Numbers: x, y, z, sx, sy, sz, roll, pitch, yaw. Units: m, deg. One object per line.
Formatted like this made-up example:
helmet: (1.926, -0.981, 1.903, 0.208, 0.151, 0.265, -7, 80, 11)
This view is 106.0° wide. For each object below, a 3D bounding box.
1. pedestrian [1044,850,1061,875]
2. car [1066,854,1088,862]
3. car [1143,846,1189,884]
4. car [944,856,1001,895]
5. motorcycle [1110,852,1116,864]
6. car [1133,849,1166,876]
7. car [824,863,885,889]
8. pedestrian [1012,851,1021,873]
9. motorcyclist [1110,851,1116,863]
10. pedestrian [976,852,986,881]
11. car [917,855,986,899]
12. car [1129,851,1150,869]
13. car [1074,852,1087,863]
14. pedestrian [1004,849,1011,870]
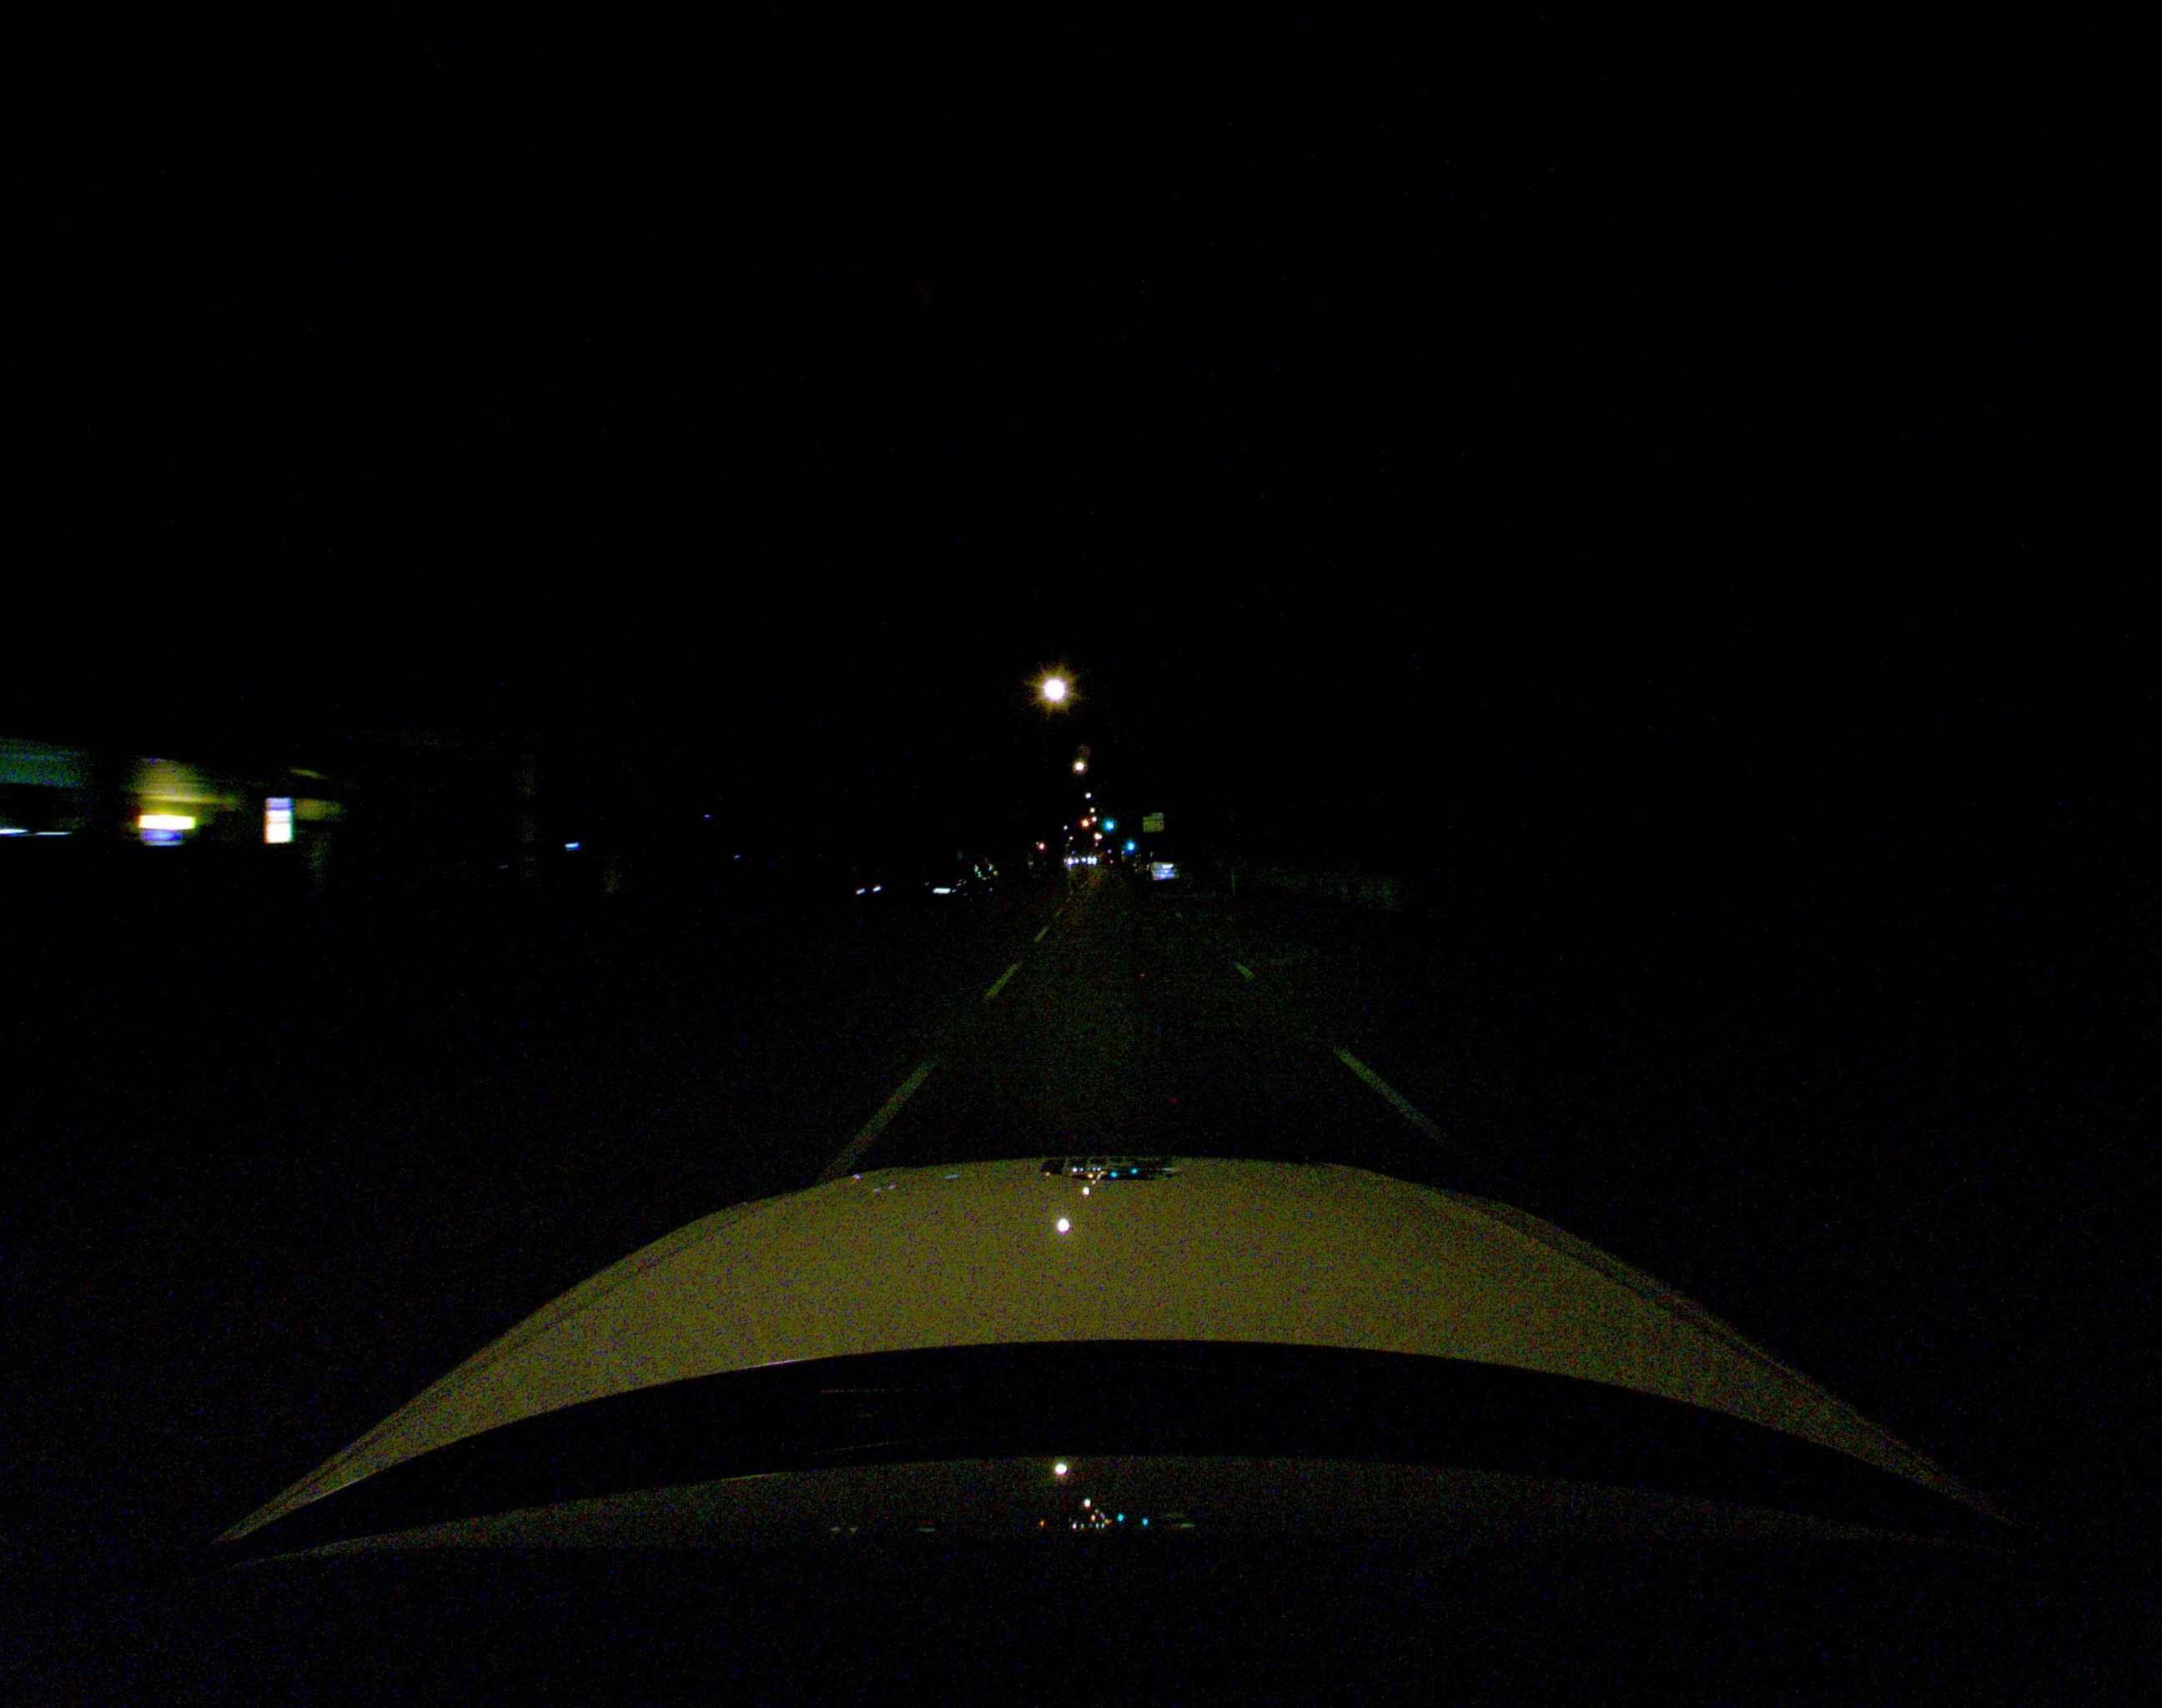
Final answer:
pedestrian: (-2.012, 0.606, 58.286, 0.757, 1.699, 0.932, 1, 0, 38)
car: (-0.681, 0.688, 147.730, 1.699, 1.457, 3.945, -2, -2, 45)
car: (4.003, 0.488, 38.926, 1.805, 1.594, 4.275, -3, 0, 2)
car: (-4.459, 0.839, 34.194, 1.715, 1.437, 4.810, -1, 1, 0)
motorcycle: (4.717, 0.619, 121.203, 0.927, 1.752, 2.626, -1, -1, 2)
car: (4.358, 0.515, 52.186, 1.862, 1.526, 4.151, -3, 0, 2)
car: (-13.335, 1.293, 47.949, 3.224, 1.453, 1.806, -1, -1, 34)
pedestrian: (-5.302, 0.669, 67.035, 0.717, 1.765, 0.602, 0, -1, -7)
motorcyclist: (4.712, 0.402, 121.210, 0.845, 1.752, 0.806, -1, -1, 1)
pedestrian: (-6.029, 0.759, 49.047, 0.580, 1.700, 0.530, 0, -1, -7)
car: (-4.494, 0.752, 28.869, 1.715, 1.437, 4.191, 0, 0, 1)
car: (5.109, 0.528, 71.760, 1.624, 1.496, 3.414, -1, 0, 0)
car: (-0.004, 0.627, 130.311, 1.937, 1.717, 4.001, -1, -1, 2)
pedestrian: (-6.036, 0.478, 66.815, 0.569, 1.700, 0.927, 0, -1, -8)
